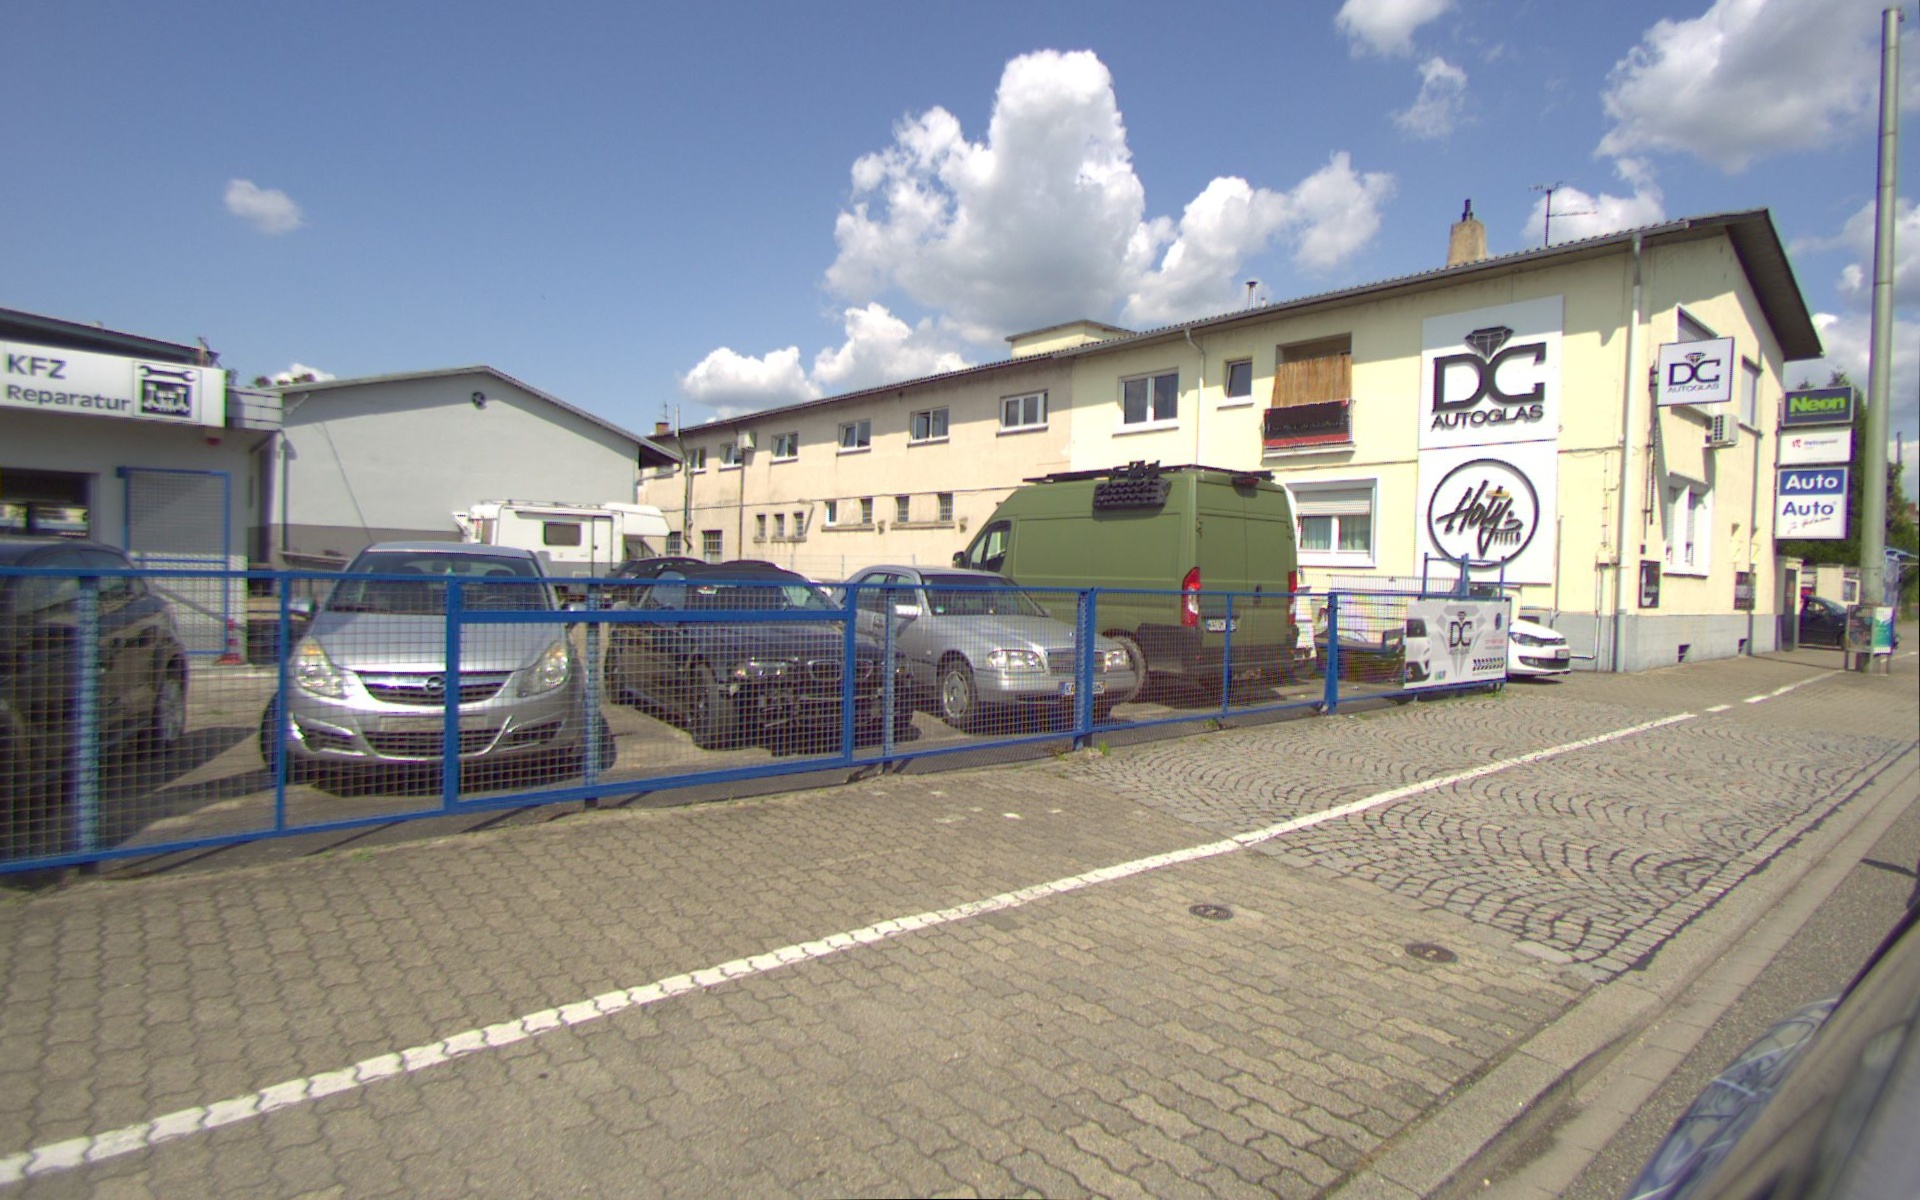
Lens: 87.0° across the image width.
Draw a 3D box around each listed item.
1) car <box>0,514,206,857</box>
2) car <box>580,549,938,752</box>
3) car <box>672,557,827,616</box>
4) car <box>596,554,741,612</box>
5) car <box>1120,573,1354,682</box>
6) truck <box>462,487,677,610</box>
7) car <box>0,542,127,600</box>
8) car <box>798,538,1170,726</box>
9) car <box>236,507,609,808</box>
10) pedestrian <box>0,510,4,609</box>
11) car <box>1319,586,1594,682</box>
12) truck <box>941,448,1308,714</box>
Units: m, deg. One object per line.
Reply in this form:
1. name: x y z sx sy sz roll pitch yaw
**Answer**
1. car: -5.378 0.308 5.175 1.592 1.480 3.919 0 3 -24
2. car: -2.055 0.299 9.180 1.707 1.391 4.265 0 1 -34
3. car: -4.831 -0.306 23.395 3.219 1.278 1.452 -1 0 -40
4. car: -7.371 -0.423 25.711 3.268 1.396 1.425 -1 0 -40
5. car: 3.888 0.315 14.537 1.309 1.290 3.034 -1 4 -39
6. truck: -10.578 -1.368 27.617 5.000 3.045 2.158 -1 4 -42
7. car: -29.097 -0.900 32.492 3.537 1.764 1.538 1 0 -43
8. car: 0.007 0.241 10.500 1.792 1.527 4.265 -1 1 -33
9. car: -3.721 0.268 7.447 1.789 1.524 4.271 -1 1 -24
10. pedestrian: -13.260 -0.542 13.559 0.698 1.318 0.625 0 0 44
11. car: 7.888 0.470 16.371 1.490 1.375 3.727 -1 1 -37
12. truck: 1.867 -0.214 12.533 2.071 2.694 4.180 0 0 -39
